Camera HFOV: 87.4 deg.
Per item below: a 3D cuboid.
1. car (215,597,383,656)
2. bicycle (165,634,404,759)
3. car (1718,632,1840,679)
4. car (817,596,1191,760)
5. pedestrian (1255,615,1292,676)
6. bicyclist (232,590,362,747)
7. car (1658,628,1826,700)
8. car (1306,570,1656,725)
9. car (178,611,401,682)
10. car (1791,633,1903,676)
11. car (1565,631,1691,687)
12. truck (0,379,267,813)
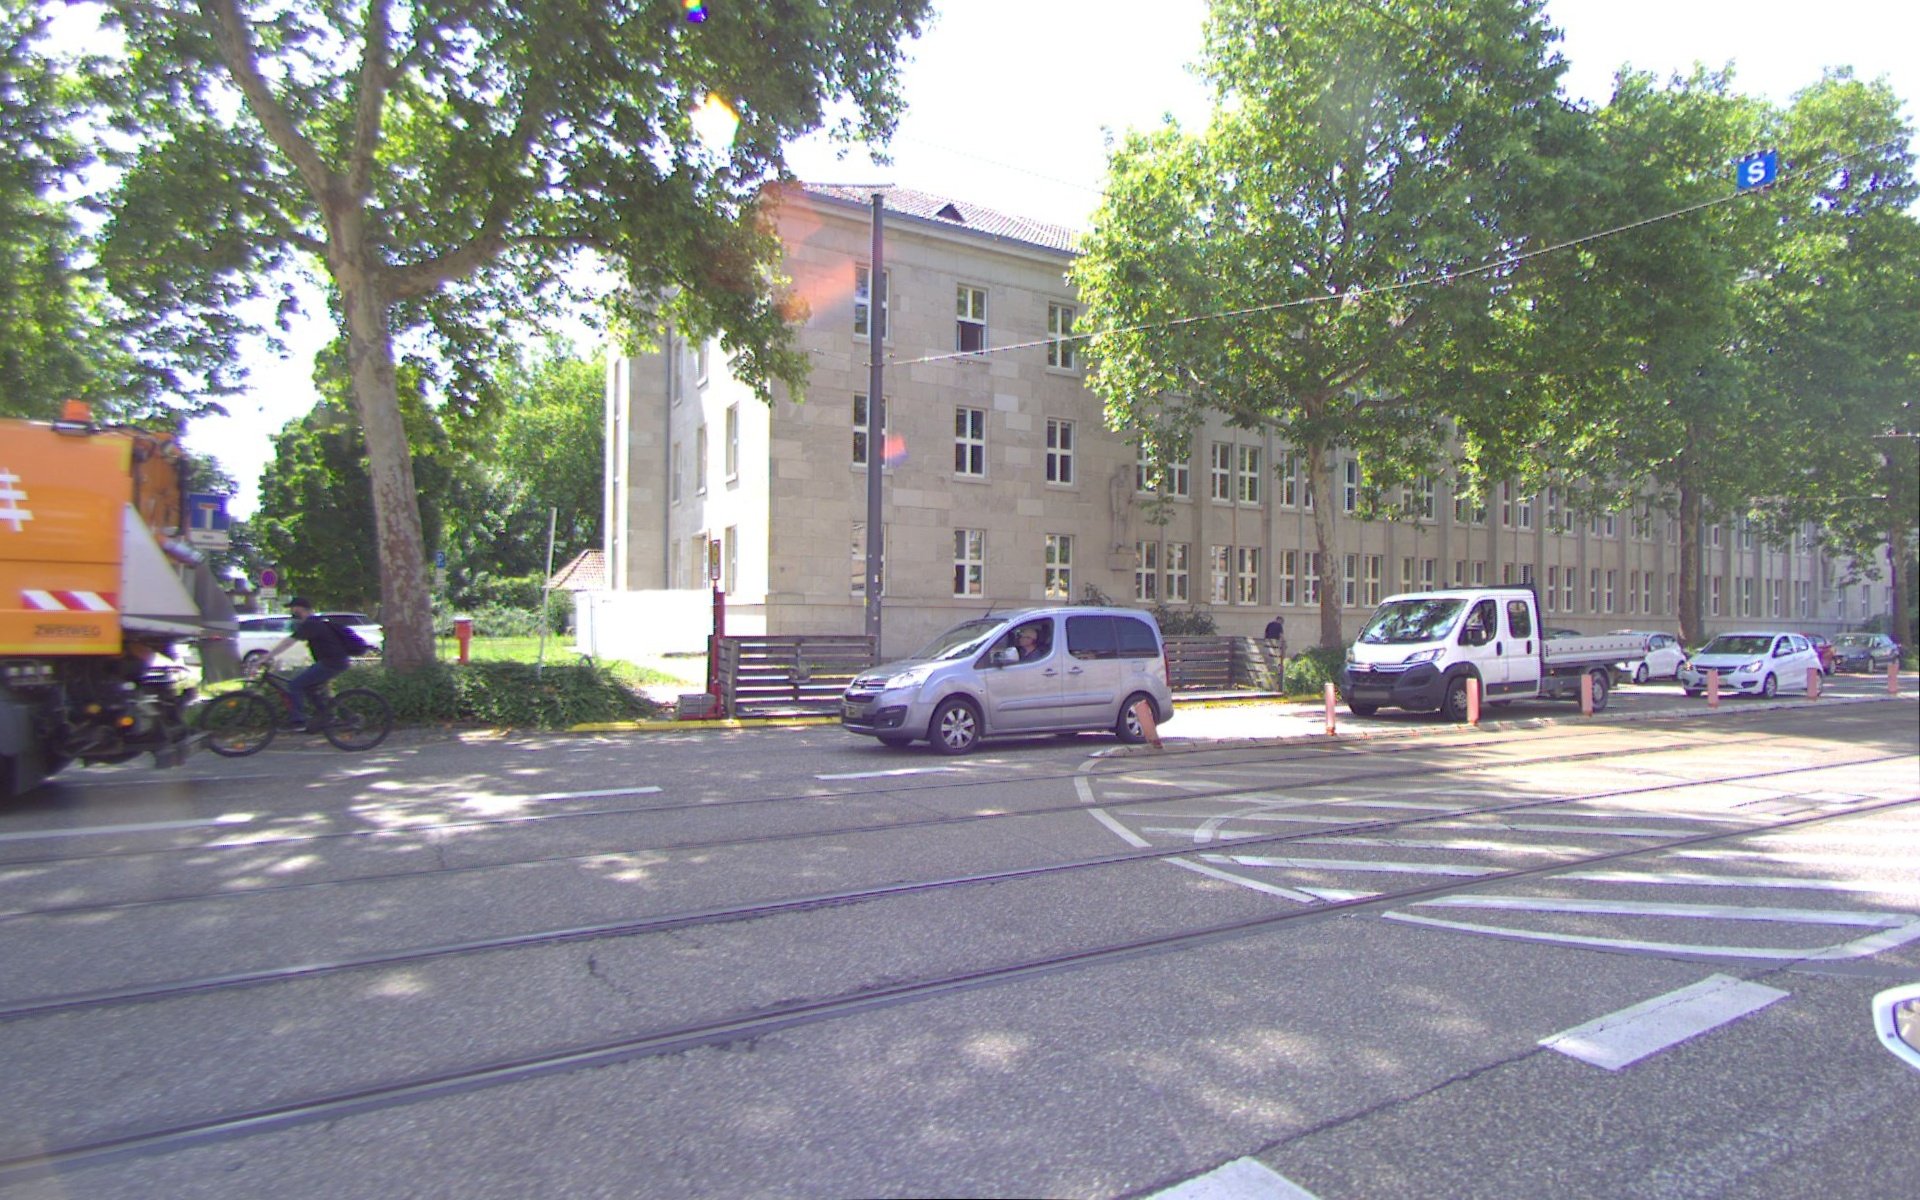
[{"bbox_3d":[-20.315,0.814,31.036,1.728,1.715,3.996,0,-2,27],"label":"car"},{"bbox_3d":[-7.620,1.054,11.478,2.192,1.307,0.701,1,-1,-30],"label":"bicycle"},{"bbox_3d":[28.142,1.864,34.504,4.001,1.439,1.917,1,1,-29],"label":"car"},{"bbox_3d":[0.614,0.957,12.869,4.484,1.768,1.912,2,-4,-30],"label":"car"},{"bbox_3d":[8.515,1.237,27.295,0.786,1.612,0.551,2,0,-30],"label":"pedestrian"},{"bbox_3d":[-7.559,0.758,11.512,1.162,1.708,0.698,1,-1,-30],"label":"bicyclist"},{"bbox_3d":[17.918,1.421,22.988,3.743,1.499,1.752,1,-3,-30],"label":"car"},{"bbox_3d":[9.608,0.858,18.288,6.896,2.405,2.246,1,-3,-29],"label":"car"},{"bbox_3d":[-16.889,1.150,25.543,1.730,1.629,4.402,0,-2,30],"label":"car"},{"bbox_3d":[32.615,1.976,36.913,4.268,1.387,1.916,1,1,-31],"label":"car"},{"bbox_3d":[19.569,1.684,29.411,3.451,1.473,1.737,1,1,-31],"label":"car"},{"bbox_3d":[-9.574,-0.050,7.307,7.136,3.146,2.628,2,-3,-29],"label":"truck"}]
